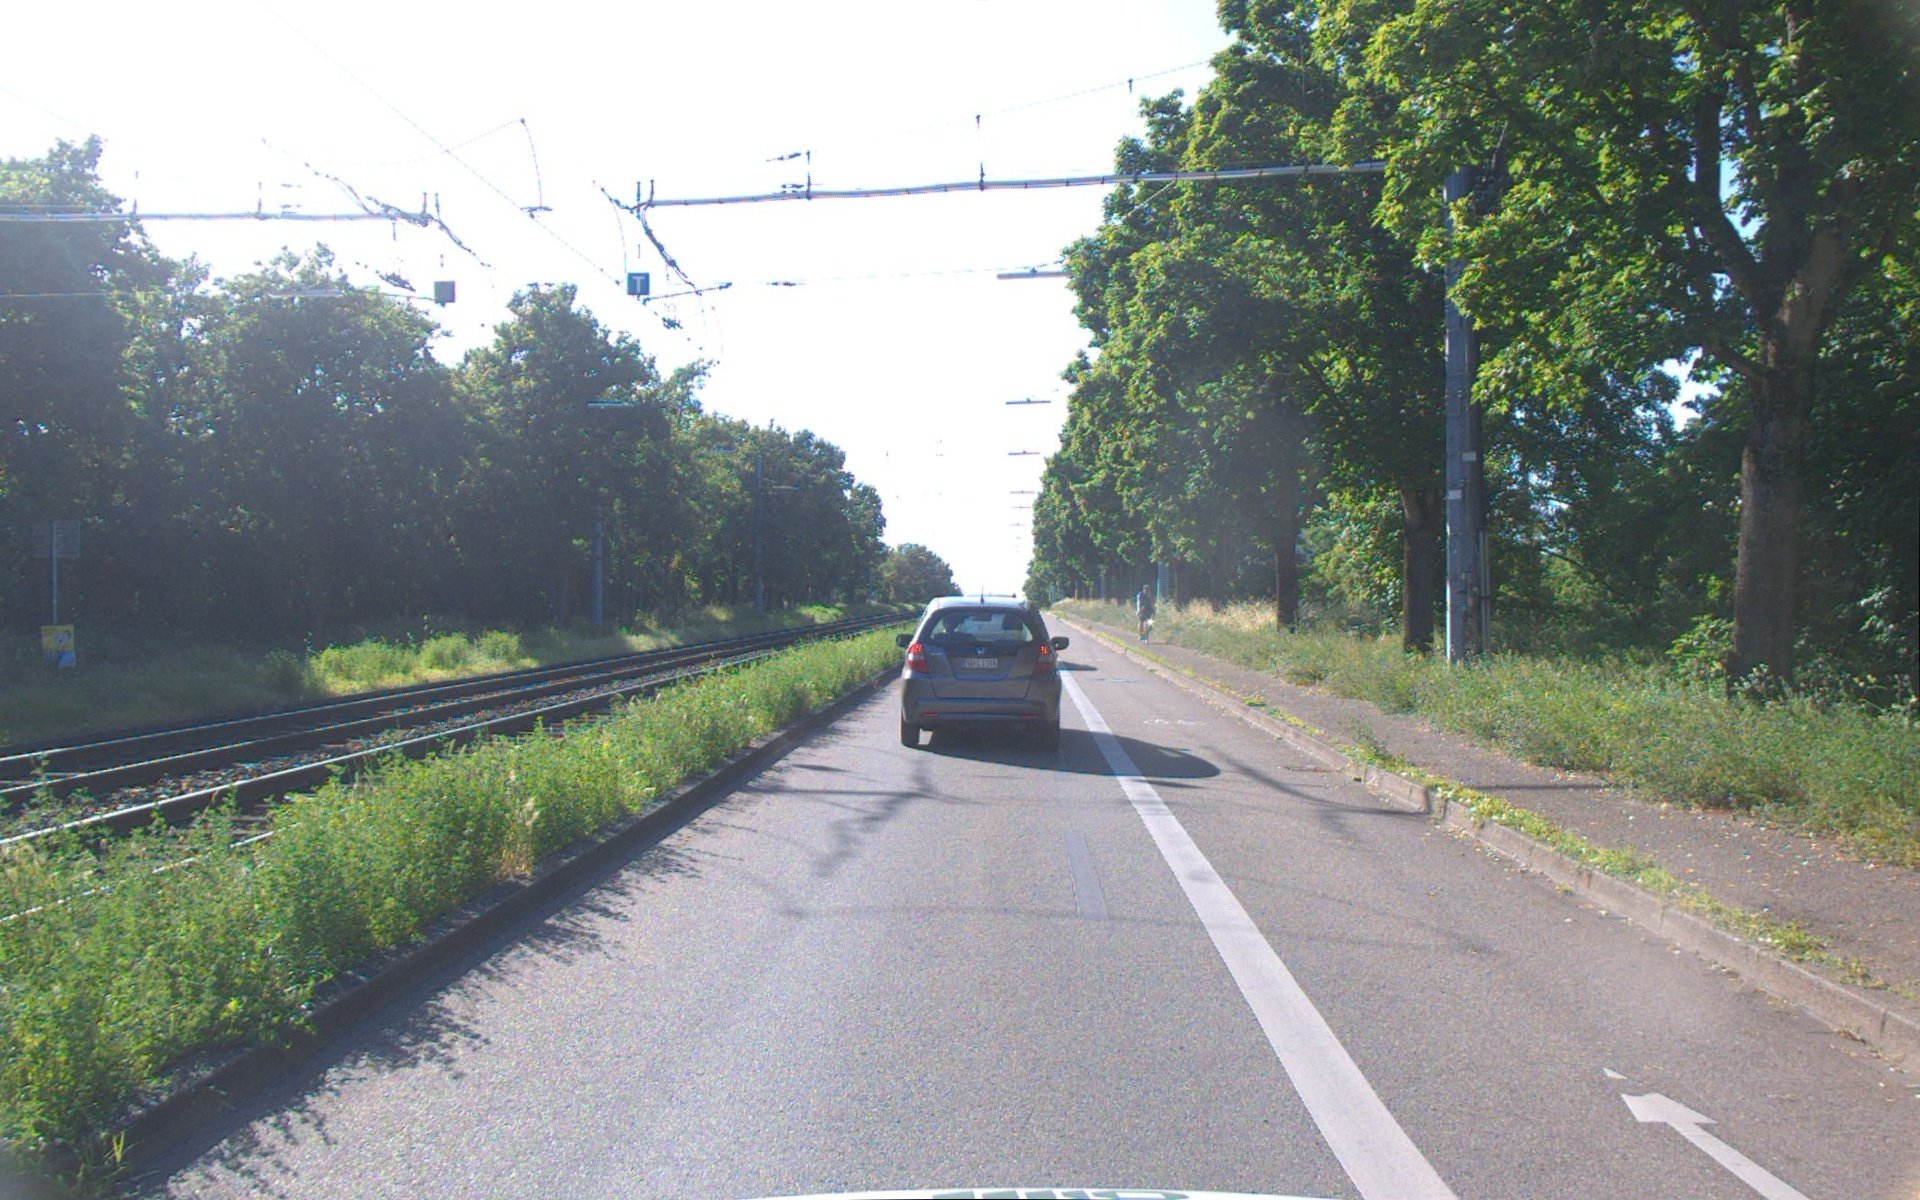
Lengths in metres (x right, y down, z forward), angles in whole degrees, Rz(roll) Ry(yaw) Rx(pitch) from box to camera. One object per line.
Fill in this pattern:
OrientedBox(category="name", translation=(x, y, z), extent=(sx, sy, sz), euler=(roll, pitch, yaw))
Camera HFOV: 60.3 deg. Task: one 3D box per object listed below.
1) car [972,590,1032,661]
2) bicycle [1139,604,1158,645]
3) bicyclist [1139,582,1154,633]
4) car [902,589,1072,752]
OrientedBox(category="car", translation=(1.007, 0.597, 38.458), extent=(1.323, 1.554, 3.124), euler=(-1, -1, 3))
OrientedBox(category="bicycle", translation=(5.695, 0.736, 50.101), extent=(0.409, 1.209, 1.722), euler=(0, 0, 1))
OrientedBox(category="bicyclist", translation=(5.666, 0.224, 50.308), extent=(0.397, 1.533, 0.574), euler=(-1, 0, 1))
OrientedBox(category="car", translation=(0.289, 0.680, 18.099), extent=(1.636, 1.542, 3.674), euler=(2, 1, 1))
